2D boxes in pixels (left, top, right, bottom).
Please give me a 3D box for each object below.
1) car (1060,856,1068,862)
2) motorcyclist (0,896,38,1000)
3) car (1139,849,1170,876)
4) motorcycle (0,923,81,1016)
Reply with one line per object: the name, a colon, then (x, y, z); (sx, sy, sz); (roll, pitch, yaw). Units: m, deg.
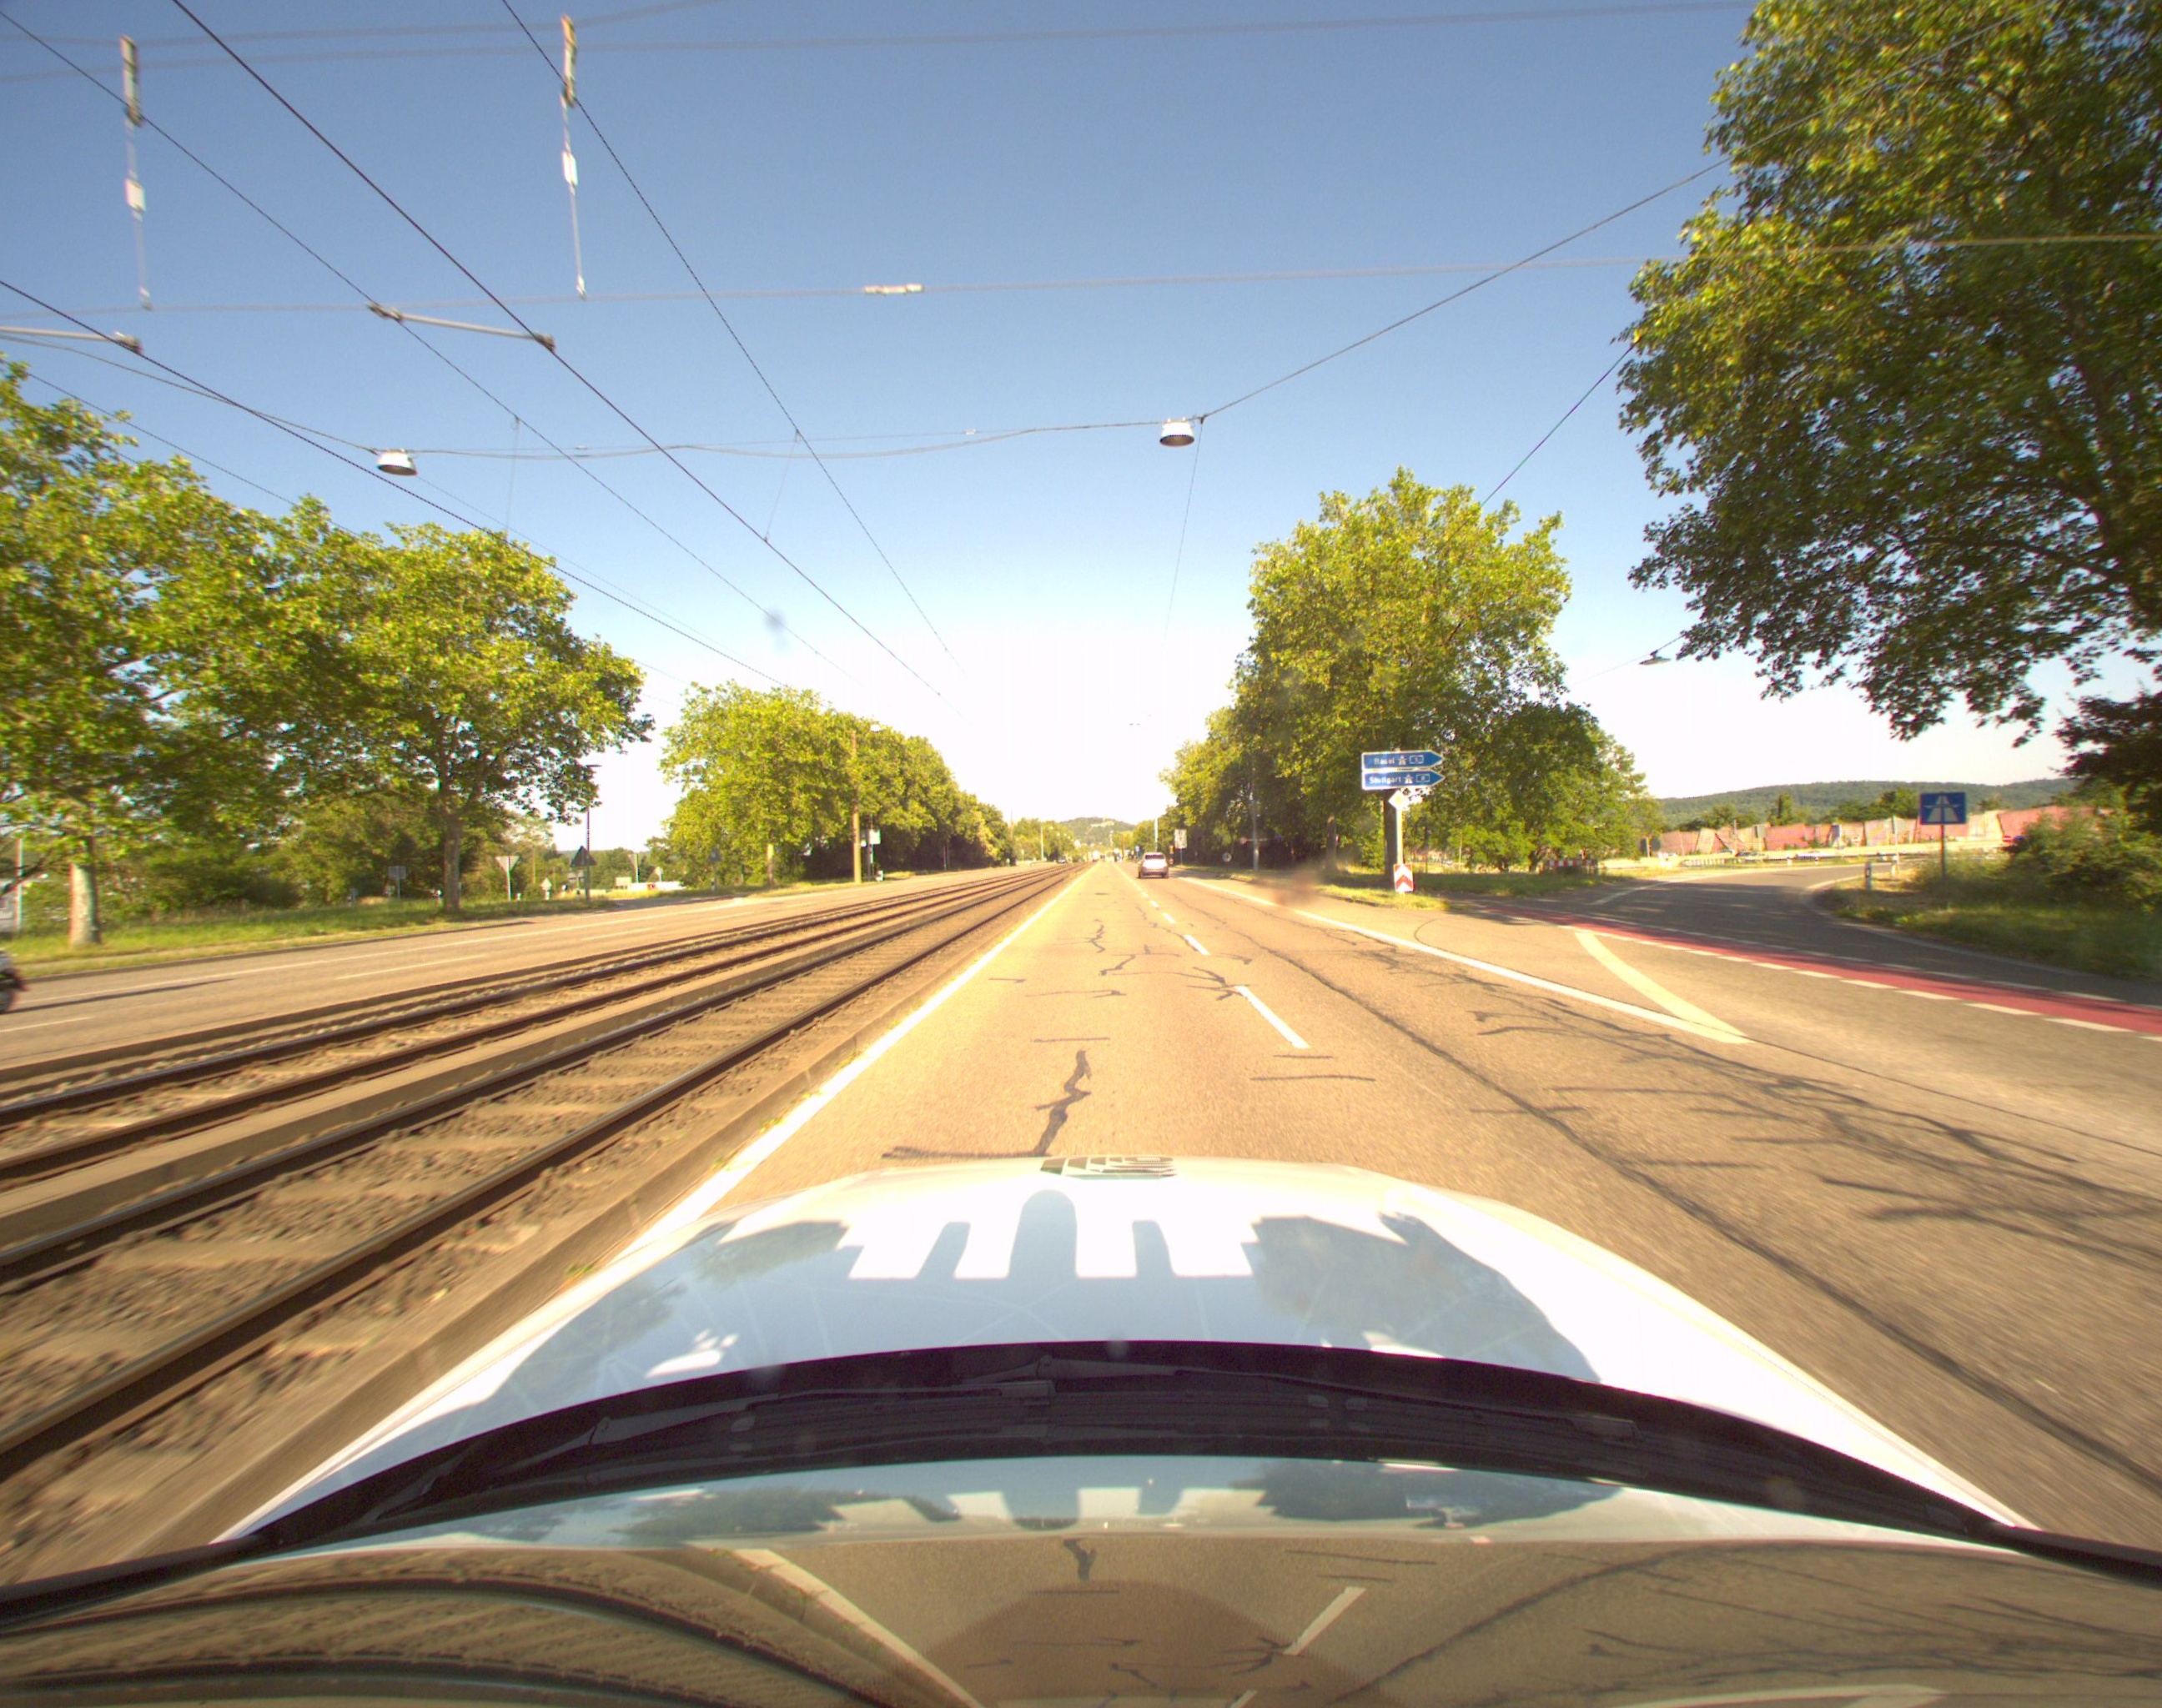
car: (-5.053, 1.394, 243.432); (1.984, 1.685, 4.802); (-3, -1, 5)
motorcyclist: (-13.670, 1.175, 10.047); (0.534, 1.270, 0.805); (0, 0, 1)
car: (4.805, 0.549, 53.648); (1.880, 1.693, 4.261); (-1, 0, 4)
motorcycle: (-13.672, 1.466, 9.940); (0.534, 1.091, 1.903); (0, 0, 2)
